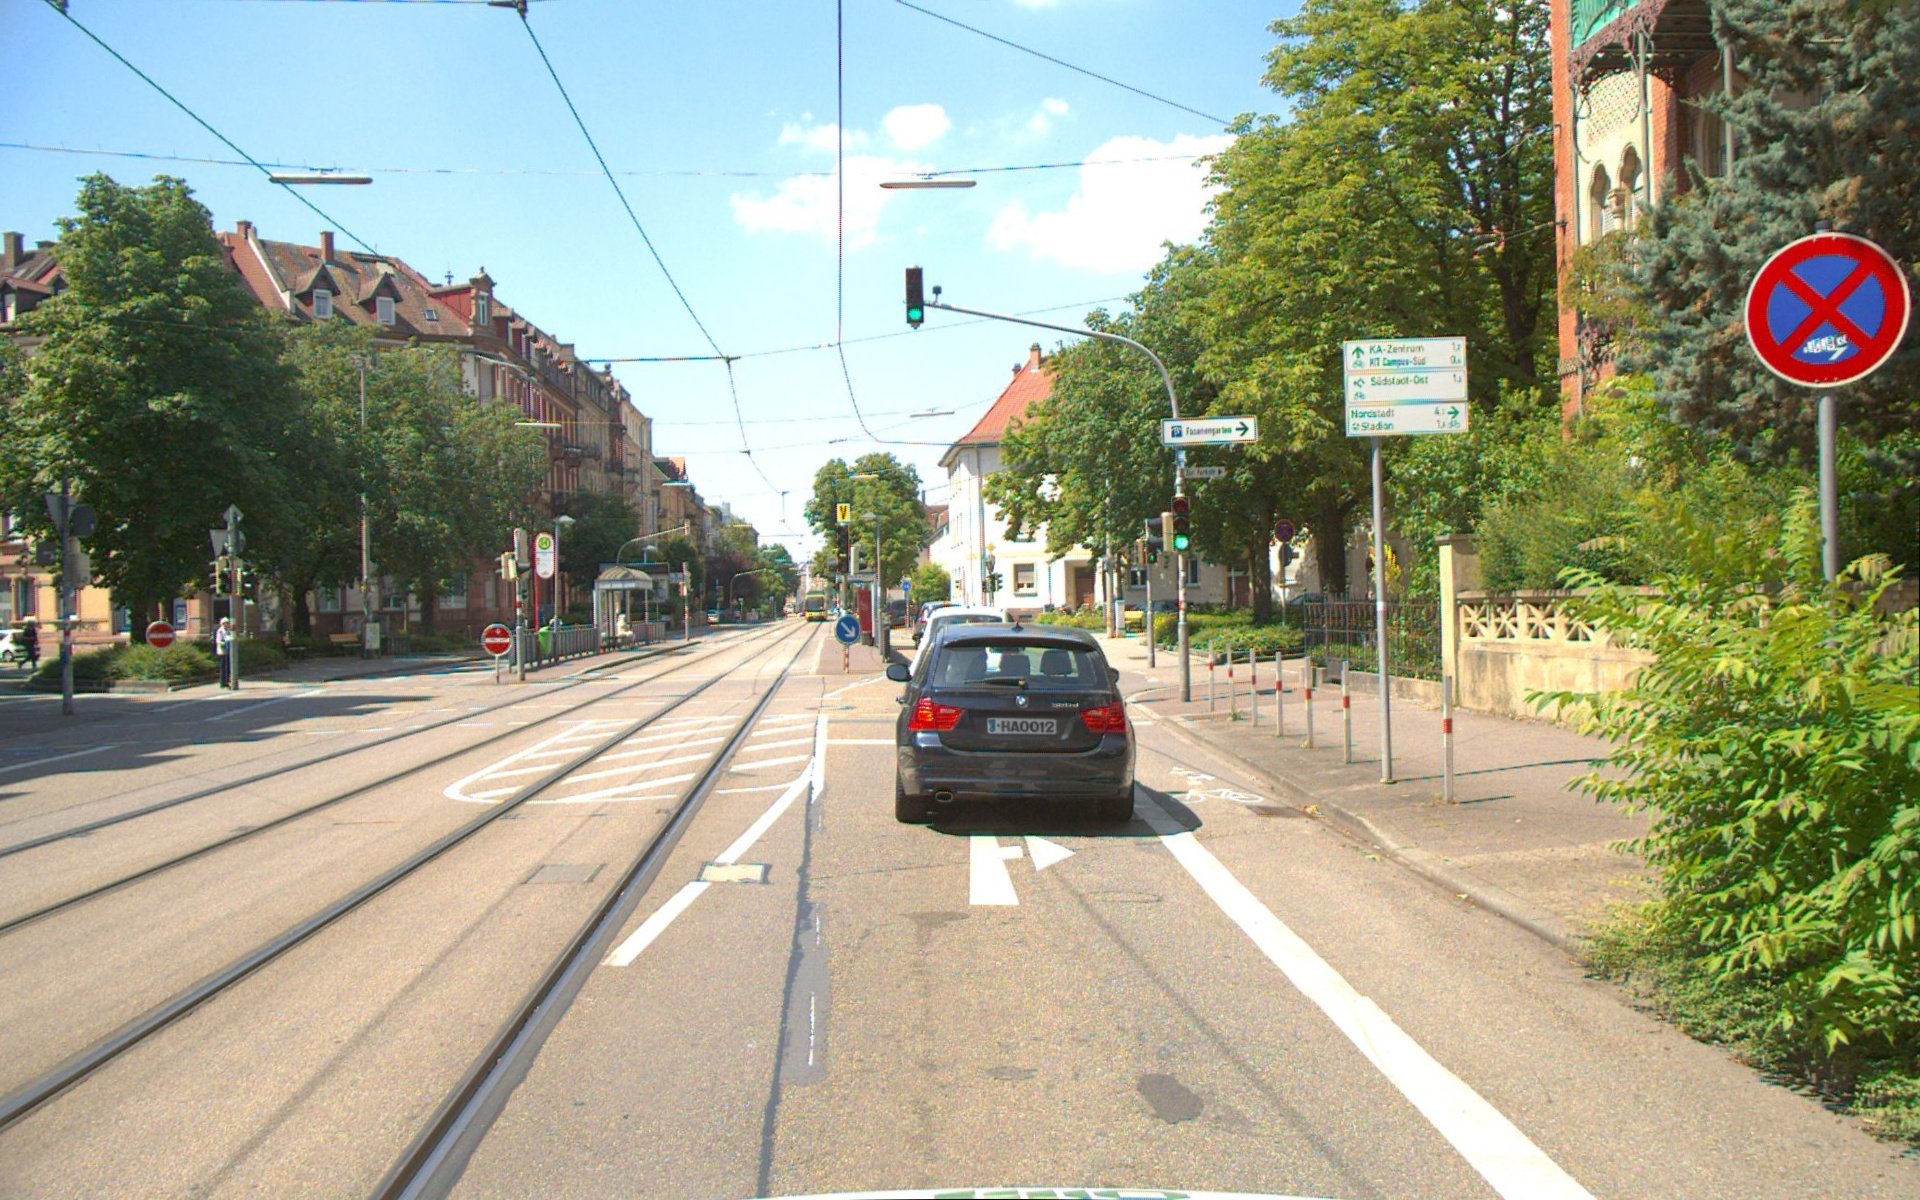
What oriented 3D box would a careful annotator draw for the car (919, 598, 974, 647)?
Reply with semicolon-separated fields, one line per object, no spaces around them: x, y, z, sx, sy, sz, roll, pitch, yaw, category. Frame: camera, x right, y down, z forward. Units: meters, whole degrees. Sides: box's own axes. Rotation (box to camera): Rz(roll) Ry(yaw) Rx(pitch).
-0.487;0.738;55.744;1.657;1.540;3.819;-1;0;-3;car

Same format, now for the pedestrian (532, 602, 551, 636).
-22.894;1.021;90.412;0.627;1.843;0.739;-2;0;29;pedestrian

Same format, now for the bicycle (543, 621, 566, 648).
-17.621;1.503;71.839;0.715;1.121;1.713;-2;0;-6;bicycle

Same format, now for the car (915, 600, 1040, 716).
0.224;0.790;24.381;1.651;1.510;3.684;-2;0;-1;car

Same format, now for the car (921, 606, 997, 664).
-0.068;0.849;41.998;1.658;1.346;3.818;-2;0;-4;car

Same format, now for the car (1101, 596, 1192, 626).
8.765;0.523;77.719;3.913;1.265;1.620;-2;0;31;car

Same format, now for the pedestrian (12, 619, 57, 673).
-33.986;1.684;60.751;0.978;1.901;1.018;-2;0;9;pedestrian

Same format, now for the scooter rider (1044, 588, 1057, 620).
4.914;0.214;89.787;0.580;1.716;0.527;-2;0;-10;scooter rider

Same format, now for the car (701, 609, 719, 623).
-27.786;1.781;183.649;1.756;1.614;3.987;0;-1;-13;car

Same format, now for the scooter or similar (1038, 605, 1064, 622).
4.940;0.721;89.771;1.288;0.852;0.525;-2;0;-10;scooter or similar

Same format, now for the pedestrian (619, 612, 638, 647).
-12.034;1.061;60.034;0.602;1.264;0.626;-2;0;-10;pedestrian

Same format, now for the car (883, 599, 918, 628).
-4.012;0.902;110.832;1.956;1.881;3.993;-2;0;-8;car

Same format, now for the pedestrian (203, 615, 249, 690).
-17.710;1.263;39.917;0.830;1.753;0.908;-2;0;-35;pedestrian

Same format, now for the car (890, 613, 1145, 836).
0.416;0.847;13.320;1.687;1.434;4.565;0;0;1;car

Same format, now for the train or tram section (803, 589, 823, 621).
-17.089;0.562;193.012;2.147;3.543;8.836;-2;0;-5;train or tram section

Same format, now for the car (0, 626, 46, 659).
-45.051;2.012;77.903;3.388;1.497;1.685;-2;0;20;car

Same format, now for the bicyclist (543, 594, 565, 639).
-17.601;0.707;71.722;0.708;1.903;0.825;-2;0;-4;bicyclist
